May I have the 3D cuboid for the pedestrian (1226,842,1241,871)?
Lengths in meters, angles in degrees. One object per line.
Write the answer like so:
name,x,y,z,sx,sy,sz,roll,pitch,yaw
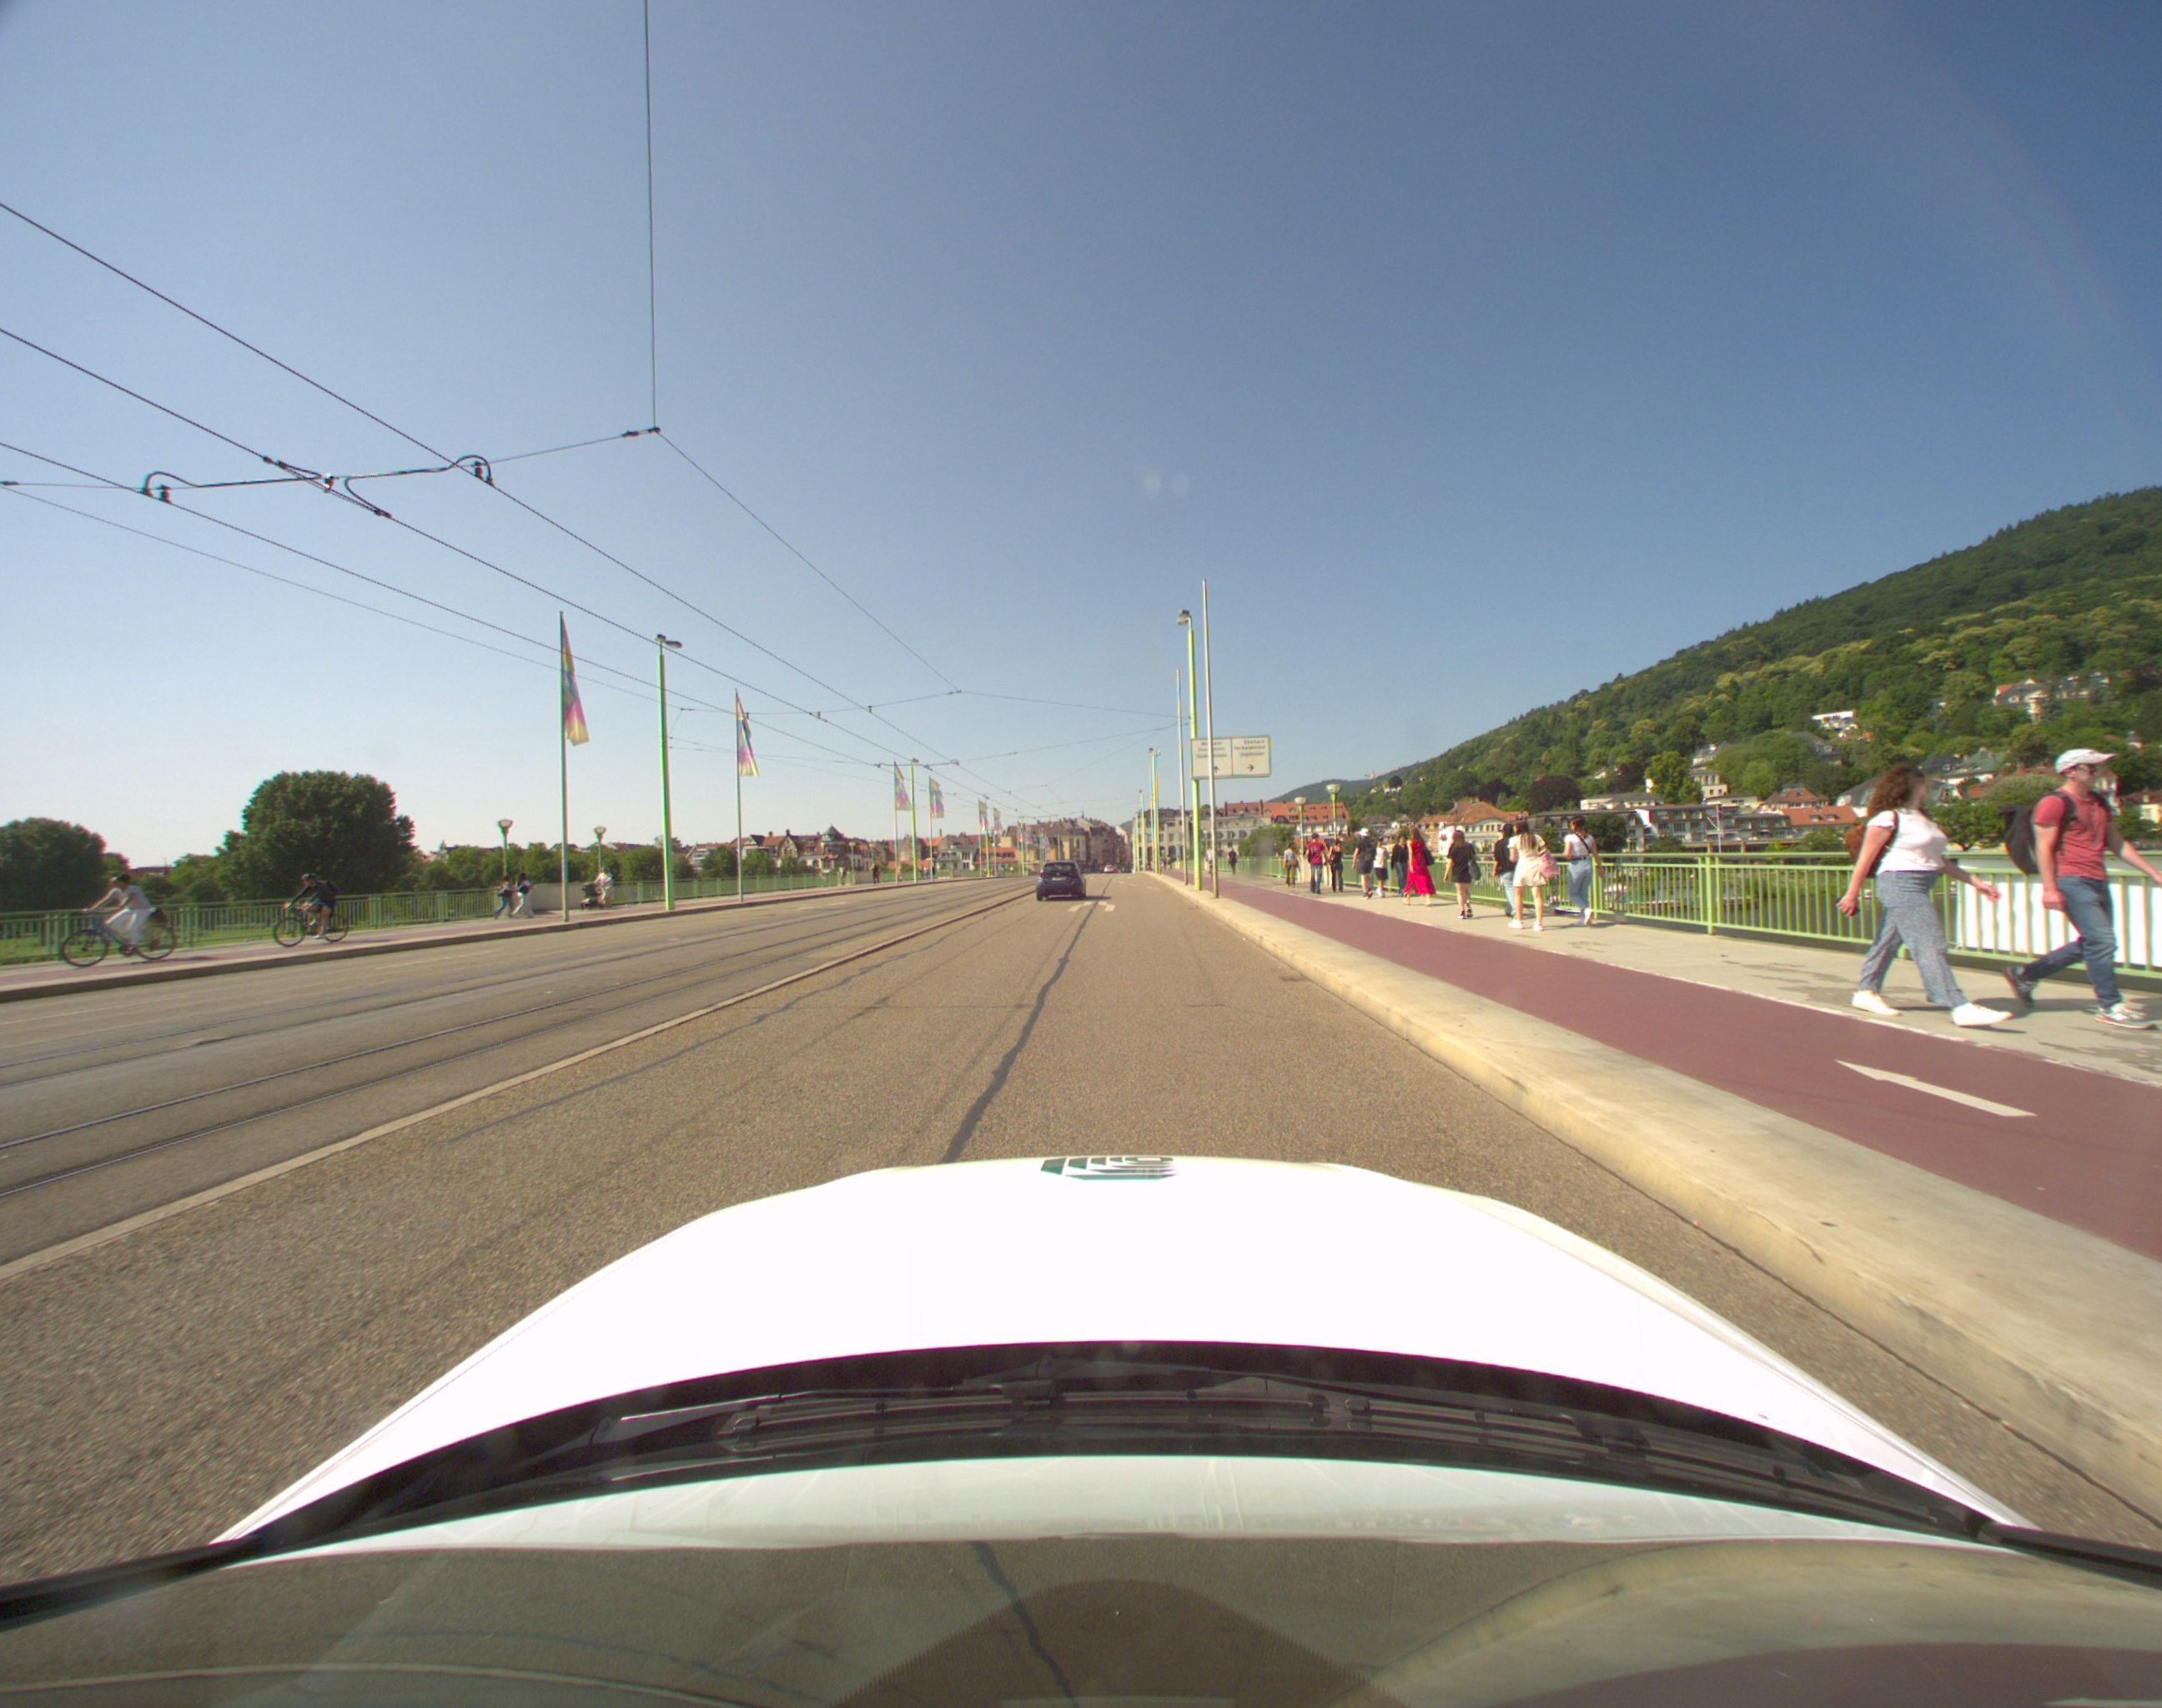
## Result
pedestrian,9.565,0.160,51.172,0.653,1.743,0.977,-3,1,-3

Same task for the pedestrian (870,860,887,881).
pedestrian,-17.726,1.423,71.170,1.094,1.758,1.295,-2,0,0

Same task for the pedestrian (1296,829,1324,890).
pedestrian,6.910,0.165,24.567,0.584,1.793,0.632,-3,0,-3

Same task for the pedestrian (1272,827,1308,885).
pedestrian,7.531,0.079,29.399,0.872,2.013,1.058,-3,0,-3

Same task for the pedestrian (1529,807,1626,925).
pedestrian,7.459,0.180,12.279,0.832,1.677,0.884,-3,0,-4

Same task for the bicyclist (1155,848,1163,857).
bicyclist,8.567,-0.174,89.249,0.732,1.030,1.175,-3,0,1

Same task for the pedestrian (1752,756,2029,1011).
pedestrian,5.648,0.187,5.755,0.983,1.615,0.920,-3,0,-3

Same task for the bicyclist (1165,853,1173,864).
bicyclist,8.776,0.487,81.313,0.665,1.045,0.980,-3,0,-2

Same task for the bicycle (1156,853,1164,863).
bicycle,8.646,0.446,89.259,0.616,1.037,2.051,-3,0,1

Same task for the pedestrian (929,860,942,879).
pedestrian,-15.520,1.630,86.953,1.094,2.013,1.295,-2,0,0

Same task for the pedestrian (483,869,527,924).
pedestrian,-20.025,1.470,28.334,0.736,1.849,1.121,1,0,0

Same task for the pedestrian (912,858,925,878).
pedestrian,-17.388,1.472,87.324,1.094,2.013,1.129,-2,0,0

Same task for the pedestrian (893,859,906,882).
pedestrian,-16.856,1.511,75.680,0.966,2.013,1.100,-2,0,-3

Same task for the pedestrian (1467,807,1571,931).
pedestrian,6.562,0.214,12.254,0.983,1.750,0.929,-3,0,-3

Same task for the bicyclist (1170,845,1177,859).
bicyclist,11.109,-0.288,98.150,0.732,1.635,0.867,-3,0,1

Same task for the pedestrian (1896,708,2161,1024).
pedestrian,6.680,0.076,5.753,0.801,2.013,0.953,-3,0,-3

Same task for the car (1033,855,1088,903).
car,-0.716,0.903,31.313,1.904,1.540,4.000,-3,1,0

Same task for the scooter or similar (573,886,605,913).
scooter or similar,-19.804,1.834,32.789,0.736,1.029,0.832,1,0,0

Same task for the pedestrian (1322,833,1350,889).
pedestrian,7.657,0.206,24.445,0.521,1.649,0.699,-3,0,-3

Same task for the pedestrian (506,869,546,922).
pedestrian,-19.343,1.436,28.393,0.736,1.784,0.957,1,0,0

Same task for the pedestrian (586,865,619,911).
pedestrian,-19.790,1.384,33.701,0.736,1.853,0.975,1,0,0

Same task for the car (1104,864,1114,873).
car,5.266,2.764,153.086,1.798,1.469,3.999,-4,-1,0

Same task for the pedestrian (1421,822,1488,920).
pedestrian,6.644,0.292,14.520,0.653,1.649,0.867,-4,0,-3

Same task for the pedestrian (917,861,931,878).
pedestrian,-16.668,1.622,86.661,1.092,1.729,1.297,-1,0,4

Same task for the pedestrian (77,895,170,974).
pedestrian,-19.160,1.588,16.321,0.740,1.455,0.900,-3,0,2

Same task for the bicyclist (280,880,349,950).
bicyclist,-18.483,1.457,19.657,0.873,1.609,0.772,-3,0,2

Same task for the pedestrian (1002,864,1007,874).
pedestrian,-13.951,2.739,148.635,0.827,1.722,1.094,-1,0,2

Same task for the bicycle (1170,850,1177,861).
bicycle,11.137,0.185,97.990,0.616,1.271,2.216,-3,0,1

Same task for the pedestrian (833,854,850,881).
pedestrian,-18.695,1.068,63.621,0.896,2.013,1.042,-2,0,0

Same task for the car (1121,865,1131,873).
car,9.013,3.055,163.346,1.795,1.469,4.005,-4,-1,5

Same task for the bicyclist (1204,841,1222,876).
bicyclist,6.826,0.218,42.143,0.671,1.744,1.150,-3,0,-2

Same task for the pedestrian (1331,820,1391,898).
pedestrian,7.198,0.126,21.003,0.982,1.895,1.253,-3,0,-3

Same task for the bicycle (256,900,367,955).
bicycle,-18.471,1.733,19.619,0.756,1.114,1.921,-3,0,3

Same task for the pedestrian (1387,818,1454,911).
pedestrian,7.428,0.225,17.853,1.012,1.953,0.939,-3,0,0

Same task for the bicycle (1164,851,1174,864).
bicycle,8.771,0.352,81.481,0.693,1.193,2.077,-3,-1,-2

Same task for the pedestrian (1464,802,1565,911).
pedestrian,7.570,0.041,14.302,0.983,1.769,1.253,-4,0,-3

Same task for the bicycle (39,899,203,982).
bicycle,-19.158,1.677,16.347,0.702,1.399,2.163,1,0,0

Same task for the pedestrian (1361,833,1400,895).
pedestrian,7.888,0.253,21.450,0.648,1.562,0.691,-4,1,-5

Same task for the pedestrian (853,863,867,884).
pedestrian,-18.649,1.605,68.698,0.752,1.722,1.175,-2,-1,0

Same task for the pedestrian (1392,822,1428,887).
pedestrian,8.479,-0.001,21.009,0.647,1.631,0.692,-2,0,3

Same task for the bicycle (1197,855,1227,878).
bicycle,6.780,0.631,42.399,0.790,1.096,3.742,-3,0,-2
